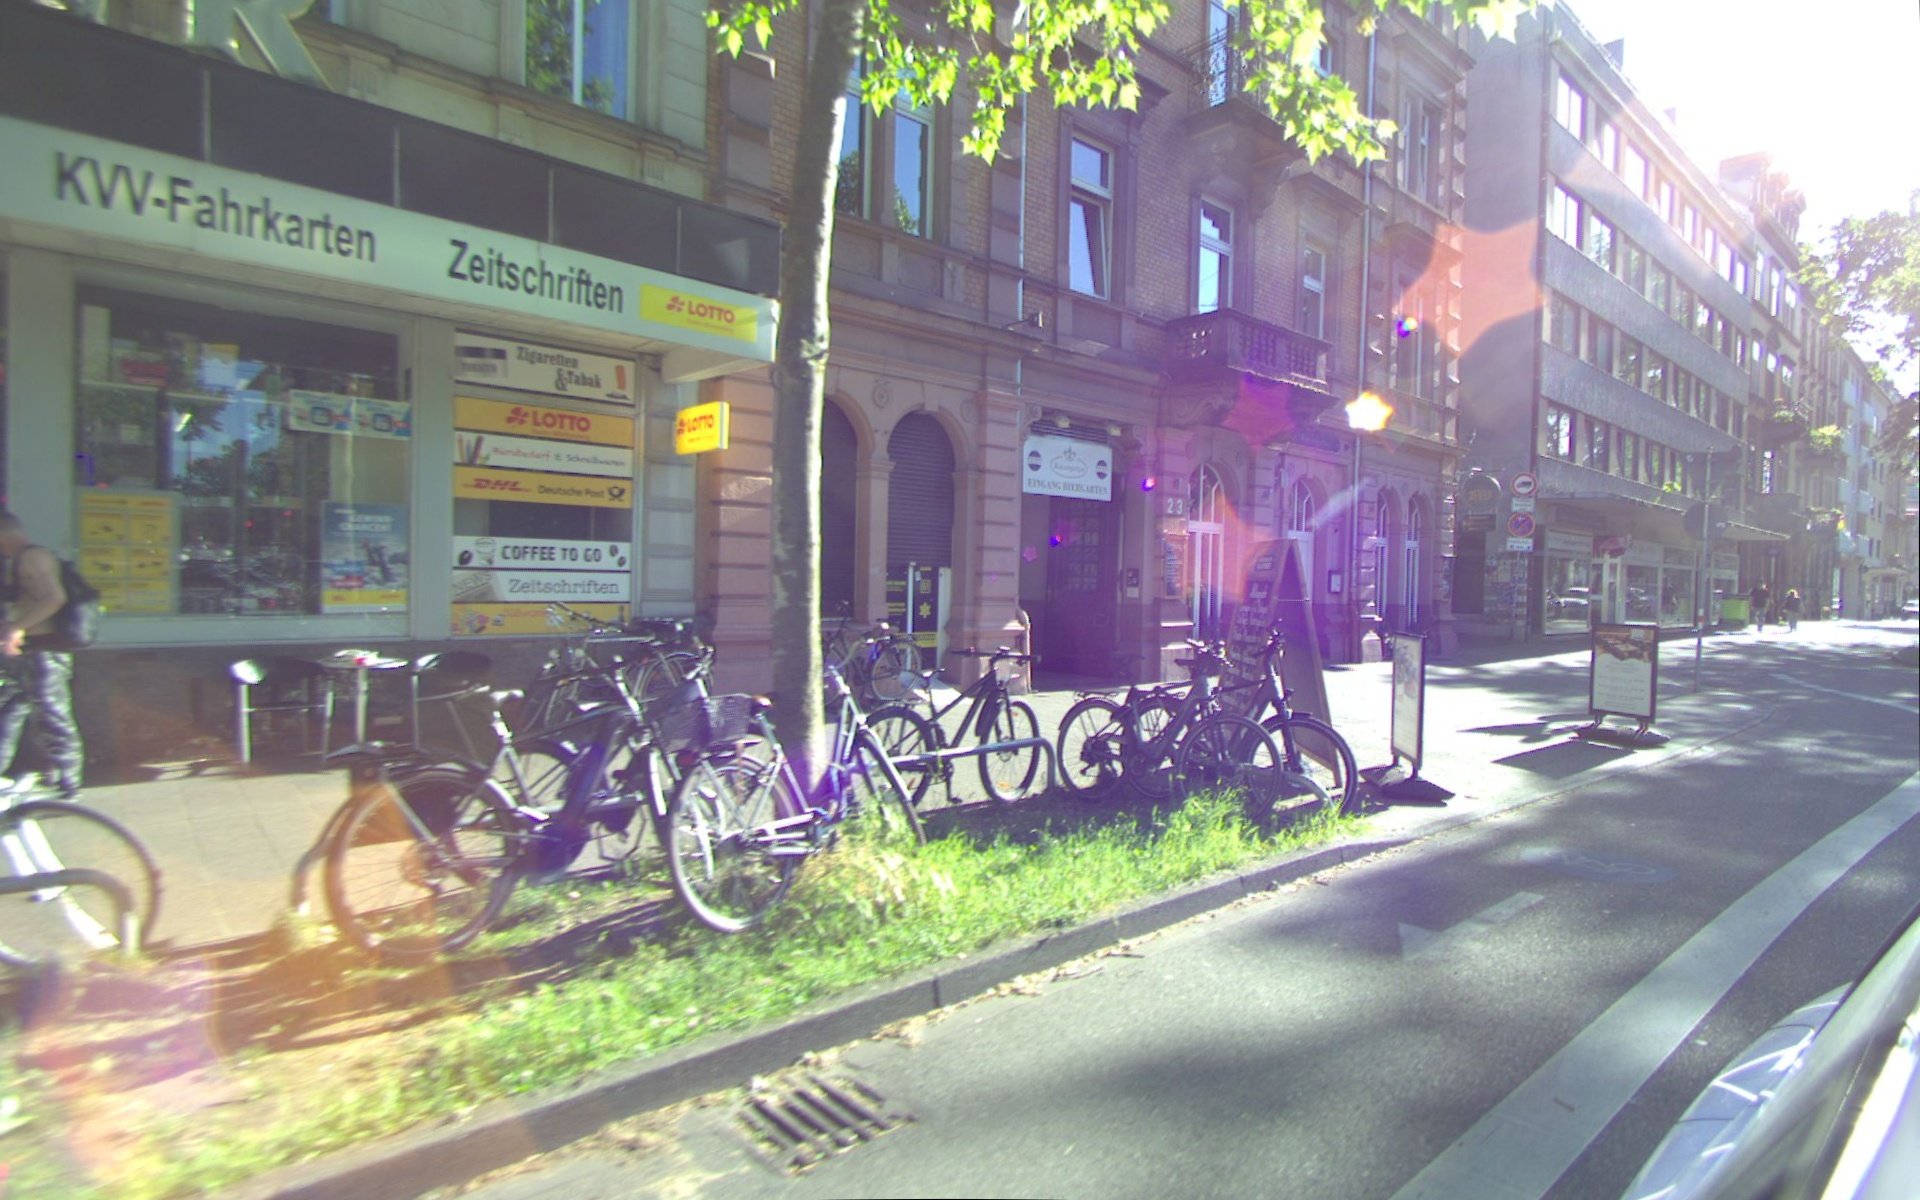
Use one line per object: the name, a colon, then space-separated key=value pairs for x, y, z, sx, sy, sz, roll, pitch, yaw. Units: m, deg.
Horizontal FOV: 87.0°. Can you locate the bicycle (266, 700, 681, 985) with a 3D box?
bicycle: x=-2.168 y=1.019 z=4.688 sx=1.659 sy=1.006 sz=0.443 roll=2 pitch=-2 yaw=-43

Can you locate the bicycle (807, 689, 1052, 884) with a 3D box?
bicycle: x=-0.145 y=1.110 z=6.405 sx=1.659 sy=1.006 sz=0.443 roll=2 pitch=-2 yaw=-43

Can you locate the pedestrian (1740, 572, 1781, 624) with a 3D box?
pedestrian: x=29.059 y=-0.082 z=36.736 sx=0.702 sy=1.863 sz=1.002 roll=1 pitch=1 yaw=-39

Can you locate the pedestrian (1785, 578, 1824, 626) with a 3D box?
pedestrian: x=31.737 y=0.076 z=38.030 sx=0.702 sy=1.783 sz=1.001 roll=2 pitch=-2 yaw=-41

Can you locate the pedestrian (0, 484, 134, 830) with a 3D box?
pedestrian: x=-5.187 y=0.302 z=5.609 sx=0.758 sy=1.834 sz=0.470 roll=1 pitch=-2 yaw=-10

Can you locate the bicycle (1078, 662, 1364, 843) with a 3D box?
bicycle: x=1.727 y=0.975 z=7.020 sx=0.436 sy=1.006 sz=2.005 roll=2 pitch=-2 yaw=-43

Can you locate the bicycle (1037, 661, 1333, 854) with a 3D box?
bicycle: x=1.396 y=0.952 z=6.662 sx=0.436 sy=1.006 sz=2.016 roll=2 pitch=-2 yaw=-43

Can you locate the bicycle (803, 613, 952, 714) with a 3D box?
bicycle: x=-0.849 y=0.661 z=10.839 sx=1.659 sy=1.006 sz=0.443 roll=2 pitch=-2 yaw=-43

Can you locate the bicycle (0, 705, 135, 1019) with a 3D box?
bicycle: x=-3.740 y=0.894 z=3.236 sx=1.659 sy=1.006 sz=0.443 roll=2 pitch=-2 yaw=-43

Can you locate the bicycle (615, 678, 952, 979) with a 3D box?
bicycle: x=-0.691 y=0.894 z=4.514 sx=0.441 sy=1.006 sz=1.667 roll=0 pitch=-2 yaw=34

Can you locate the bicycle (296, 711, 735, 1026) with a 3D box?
bicycle: x=-1.821 y=1.039 z=4.352 sx=1.659 sy=1.006 sz=0.443 roll=2 pitch=-2 yaw=-43

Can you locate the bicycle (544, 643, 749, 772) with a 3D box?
bicycle: x=-2.690 y=0.889 z=8.824 sx=1.659 sy=1.006 sz=0.443 roll=2 pitch=-2 yaw=-43
